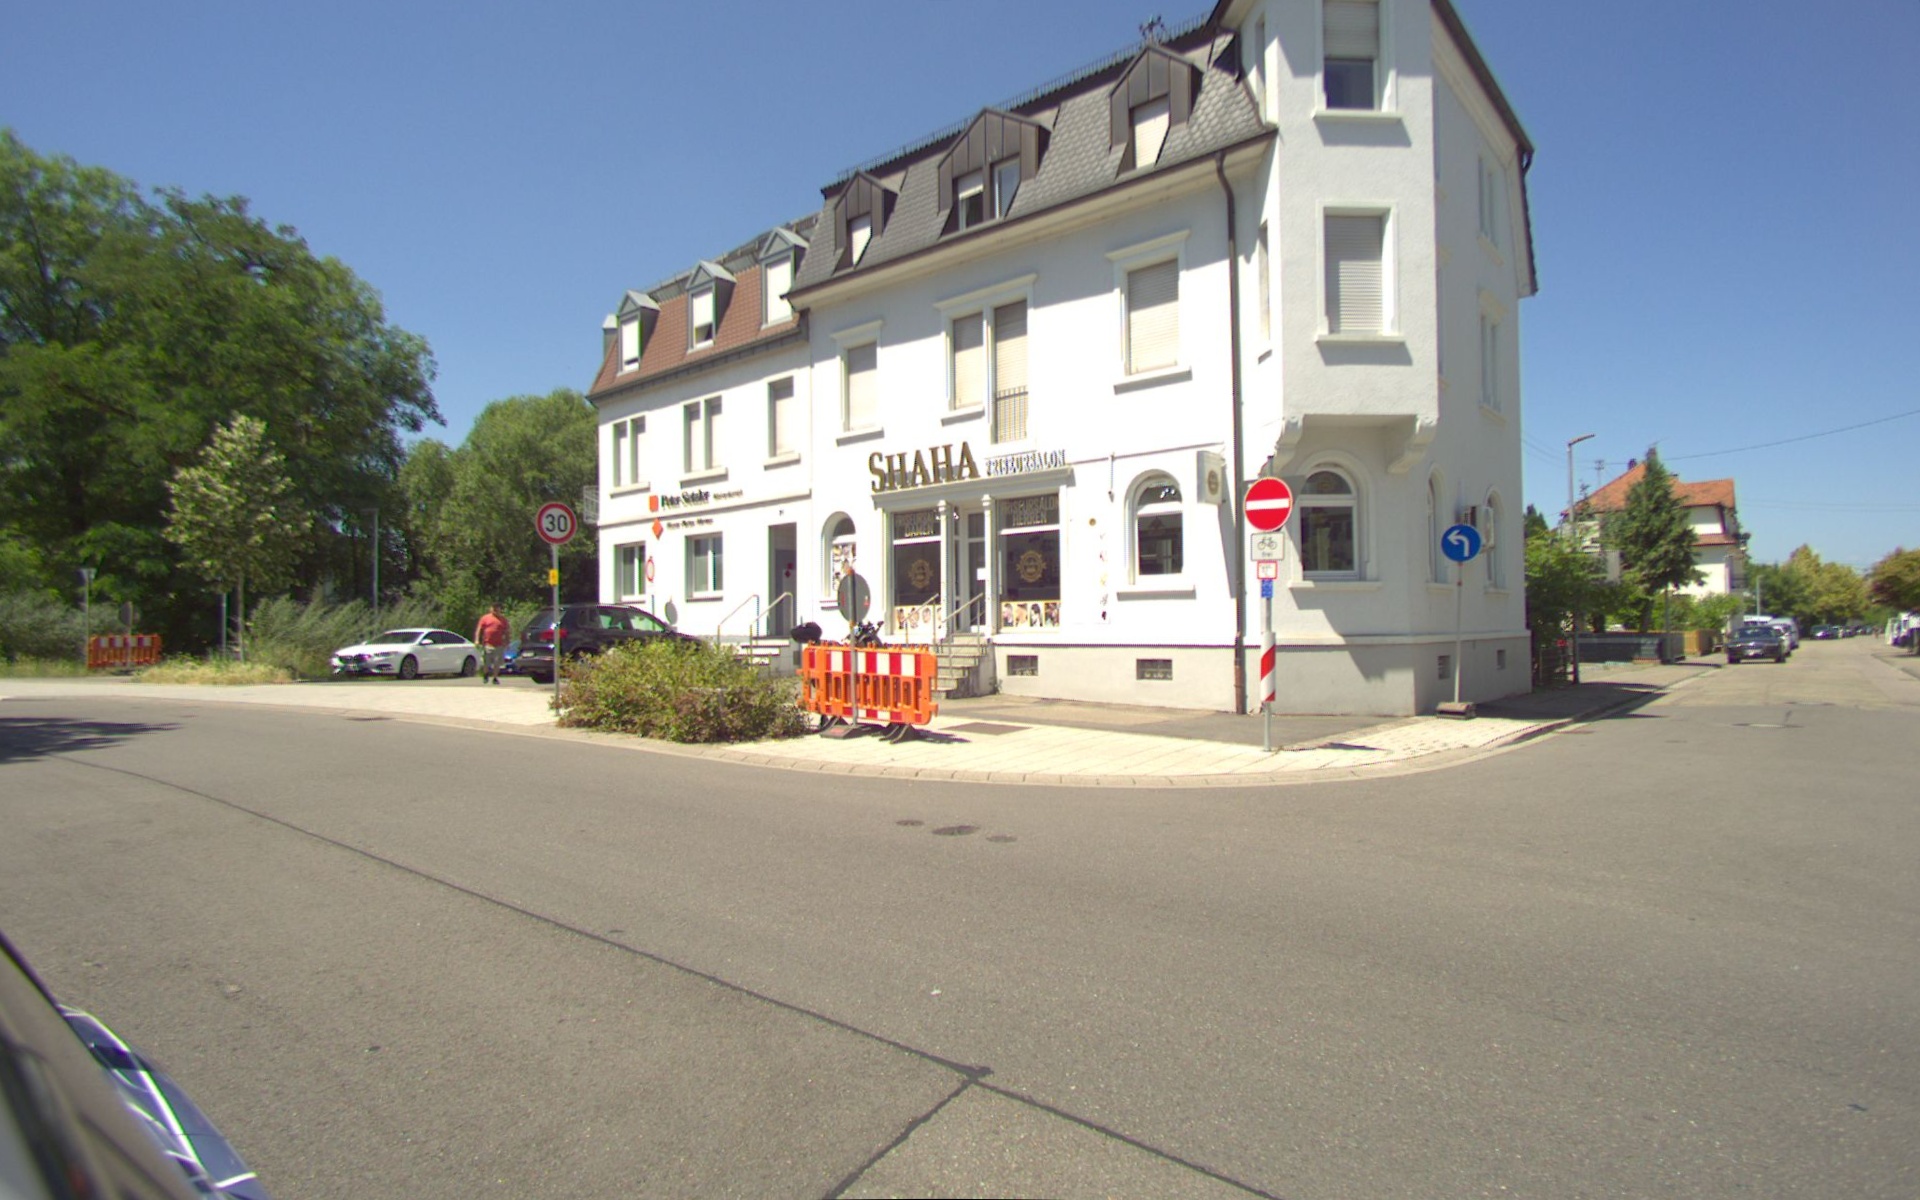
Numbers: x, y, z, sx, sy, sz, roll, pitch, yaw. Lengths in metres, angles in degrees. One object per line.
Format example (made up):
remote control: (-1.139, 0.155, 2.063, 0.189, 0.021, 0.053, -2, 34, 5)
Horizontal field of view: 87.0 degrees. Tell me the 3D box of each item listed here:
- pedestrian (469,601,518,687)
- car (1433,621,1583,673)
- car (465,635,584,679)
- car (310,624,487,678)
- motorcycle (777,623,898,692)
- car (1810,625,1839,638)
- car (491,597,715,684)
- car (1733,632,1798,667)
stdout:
pedestrian: (-9.687, 0.906, 21.039, 0.727, 1.768, 0.738, 0, -2, -9)
car: (17.700, 1.486, 32.799, 4.000, 1.591, 1.644, -1, -2, 43)
car: (-14.602, 1.942, 34.200, 1.975, 1.355, 3.992, 1, -4, 6)
car: (-15.431, 1.395, 28.167, 1.975, 1.367, 4.700, 0, -2, 6)
motorcycle: (-2.299, 1.053, 19.313, 0.833, 1.227, 2.370, 0, -1, 40)
car: (94.732, 3.463, 110.893, 3.940, 1.431, 2.002, 1, -2, -44)
car: (-7.557, 0.833, 21.734, 1.968, 1.675, 4.140, -1, -2, 38)
car: (35.154, 2.123, 44.122, 1.999, 1.431, 3.944, -1, -2, 42)
